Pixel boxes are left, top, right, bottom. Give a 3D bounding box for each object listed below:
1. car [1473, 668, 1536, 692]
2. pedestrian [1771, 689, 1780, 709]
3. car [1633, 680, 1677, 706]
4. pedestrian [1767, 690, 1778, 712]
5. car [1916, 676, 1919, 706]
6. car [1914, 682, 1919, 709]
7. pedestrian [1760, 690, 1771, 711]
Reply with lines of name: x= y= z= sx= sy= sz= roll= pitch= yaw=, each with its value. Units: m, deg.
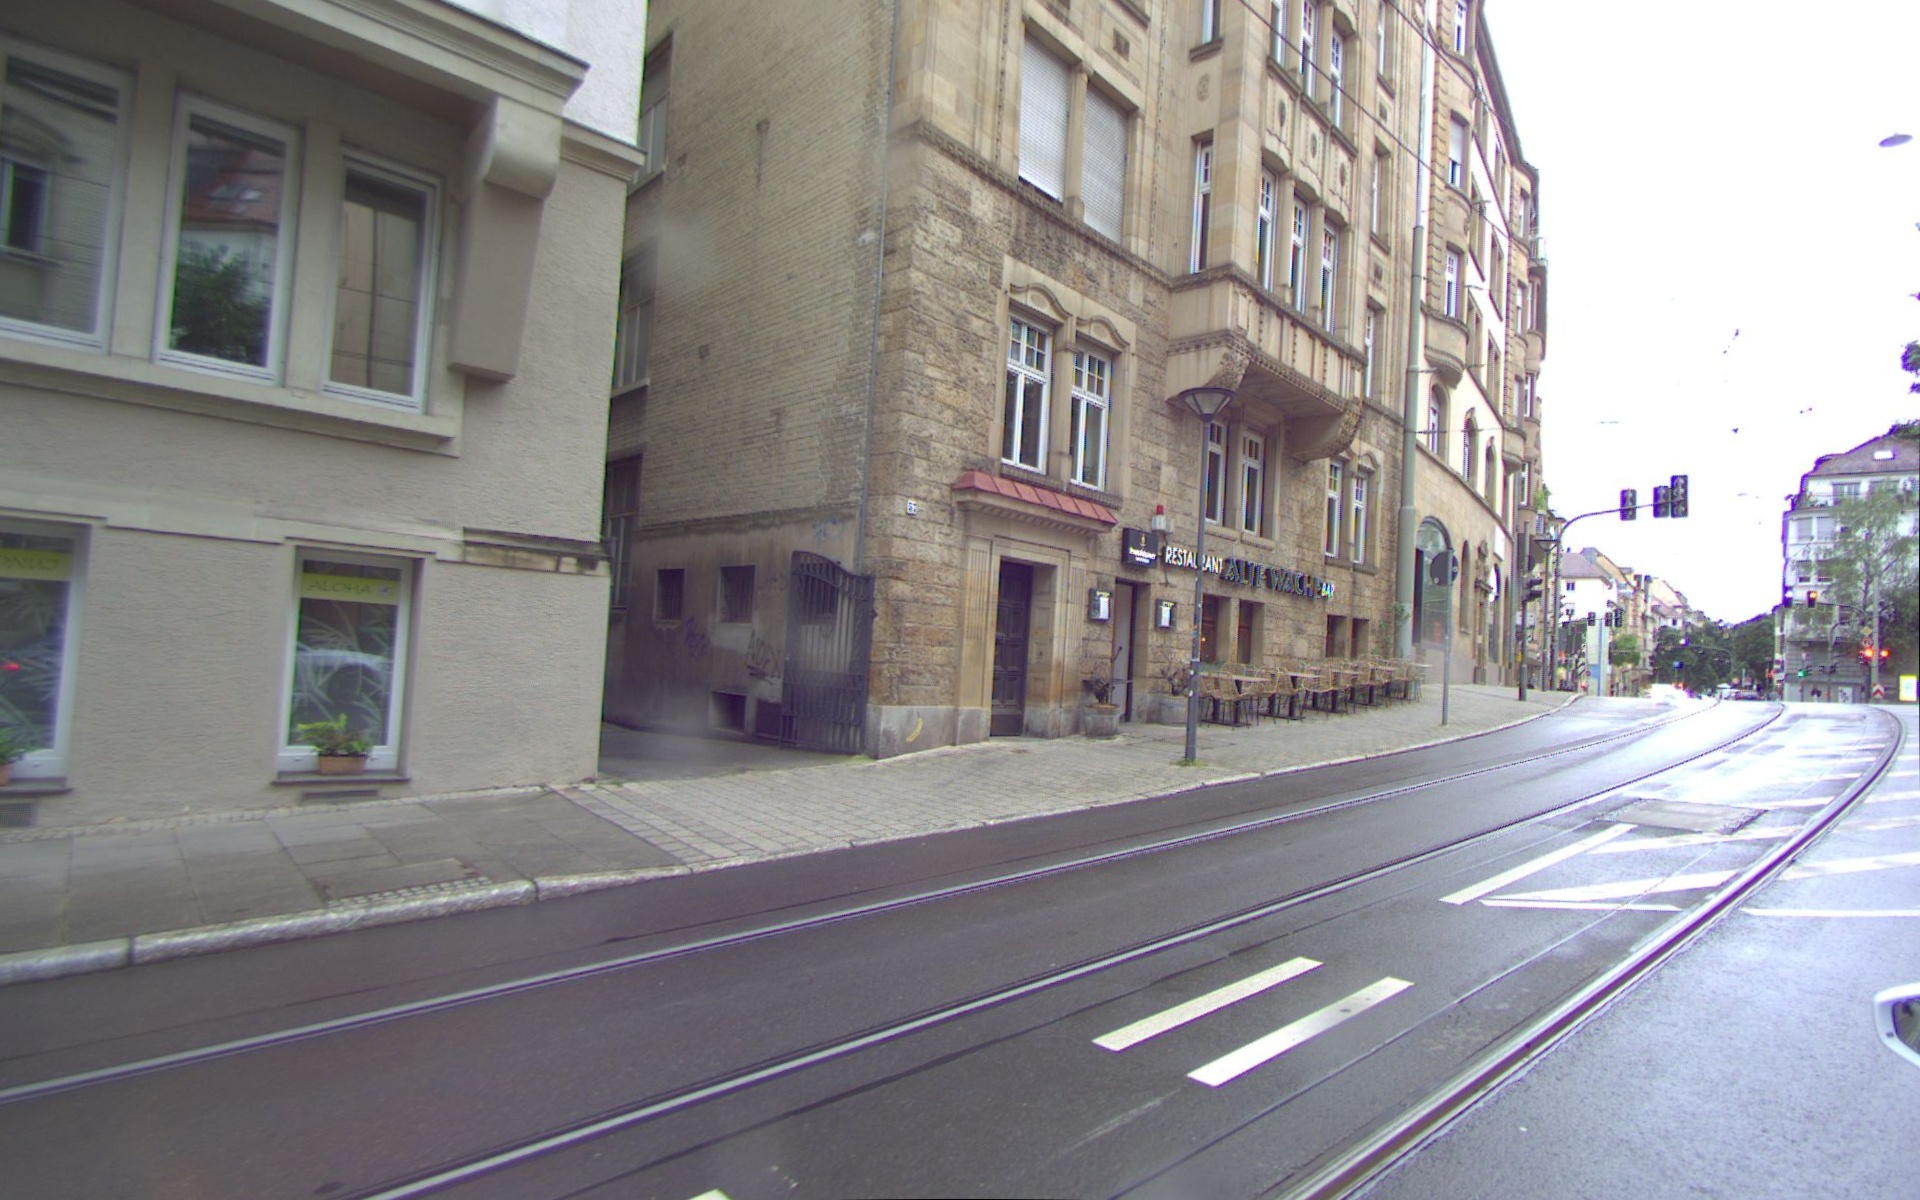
car: x=39.461 y=5.788 z=72.819 sx=3.932 sy=1.530 sz=1.795 roll=-1 pitch=-2 yaw=33
pedestrian: x=72.835 y=8.866 z=89.710 sx=0.640 sy=1.683 sz=0.647 roll=1 pitch=-1 yaw=40
car: x=49.025 y=6.549 z=70.935 sx=1.766 sy=1.530 sz=4.663 roll=-1 pitch=-2 yaw=24
pedestrian: x=65.975 y=8.190 z=81.557 sx=0.640 sy=1.683 sz=0.647 roll=1 pitch=-1 yaw=40
car: x=50.829 y=4.607 z=51.376 sx=3.954 sy=1.530 sz=1.786 roll=2 pitch=-4 yaw=-31
car: x=62.164 y=5.986 z=62.752 sx=3.930 sy=1.635 sz=1.796 roll=1 pitch=-2 yaw=-12
pedestrian: x=67.362 y=8.367 z=83.999 sx=0.640 sy=1.683 sz=0.647 roll=1 pitch=-1 yaw=40
